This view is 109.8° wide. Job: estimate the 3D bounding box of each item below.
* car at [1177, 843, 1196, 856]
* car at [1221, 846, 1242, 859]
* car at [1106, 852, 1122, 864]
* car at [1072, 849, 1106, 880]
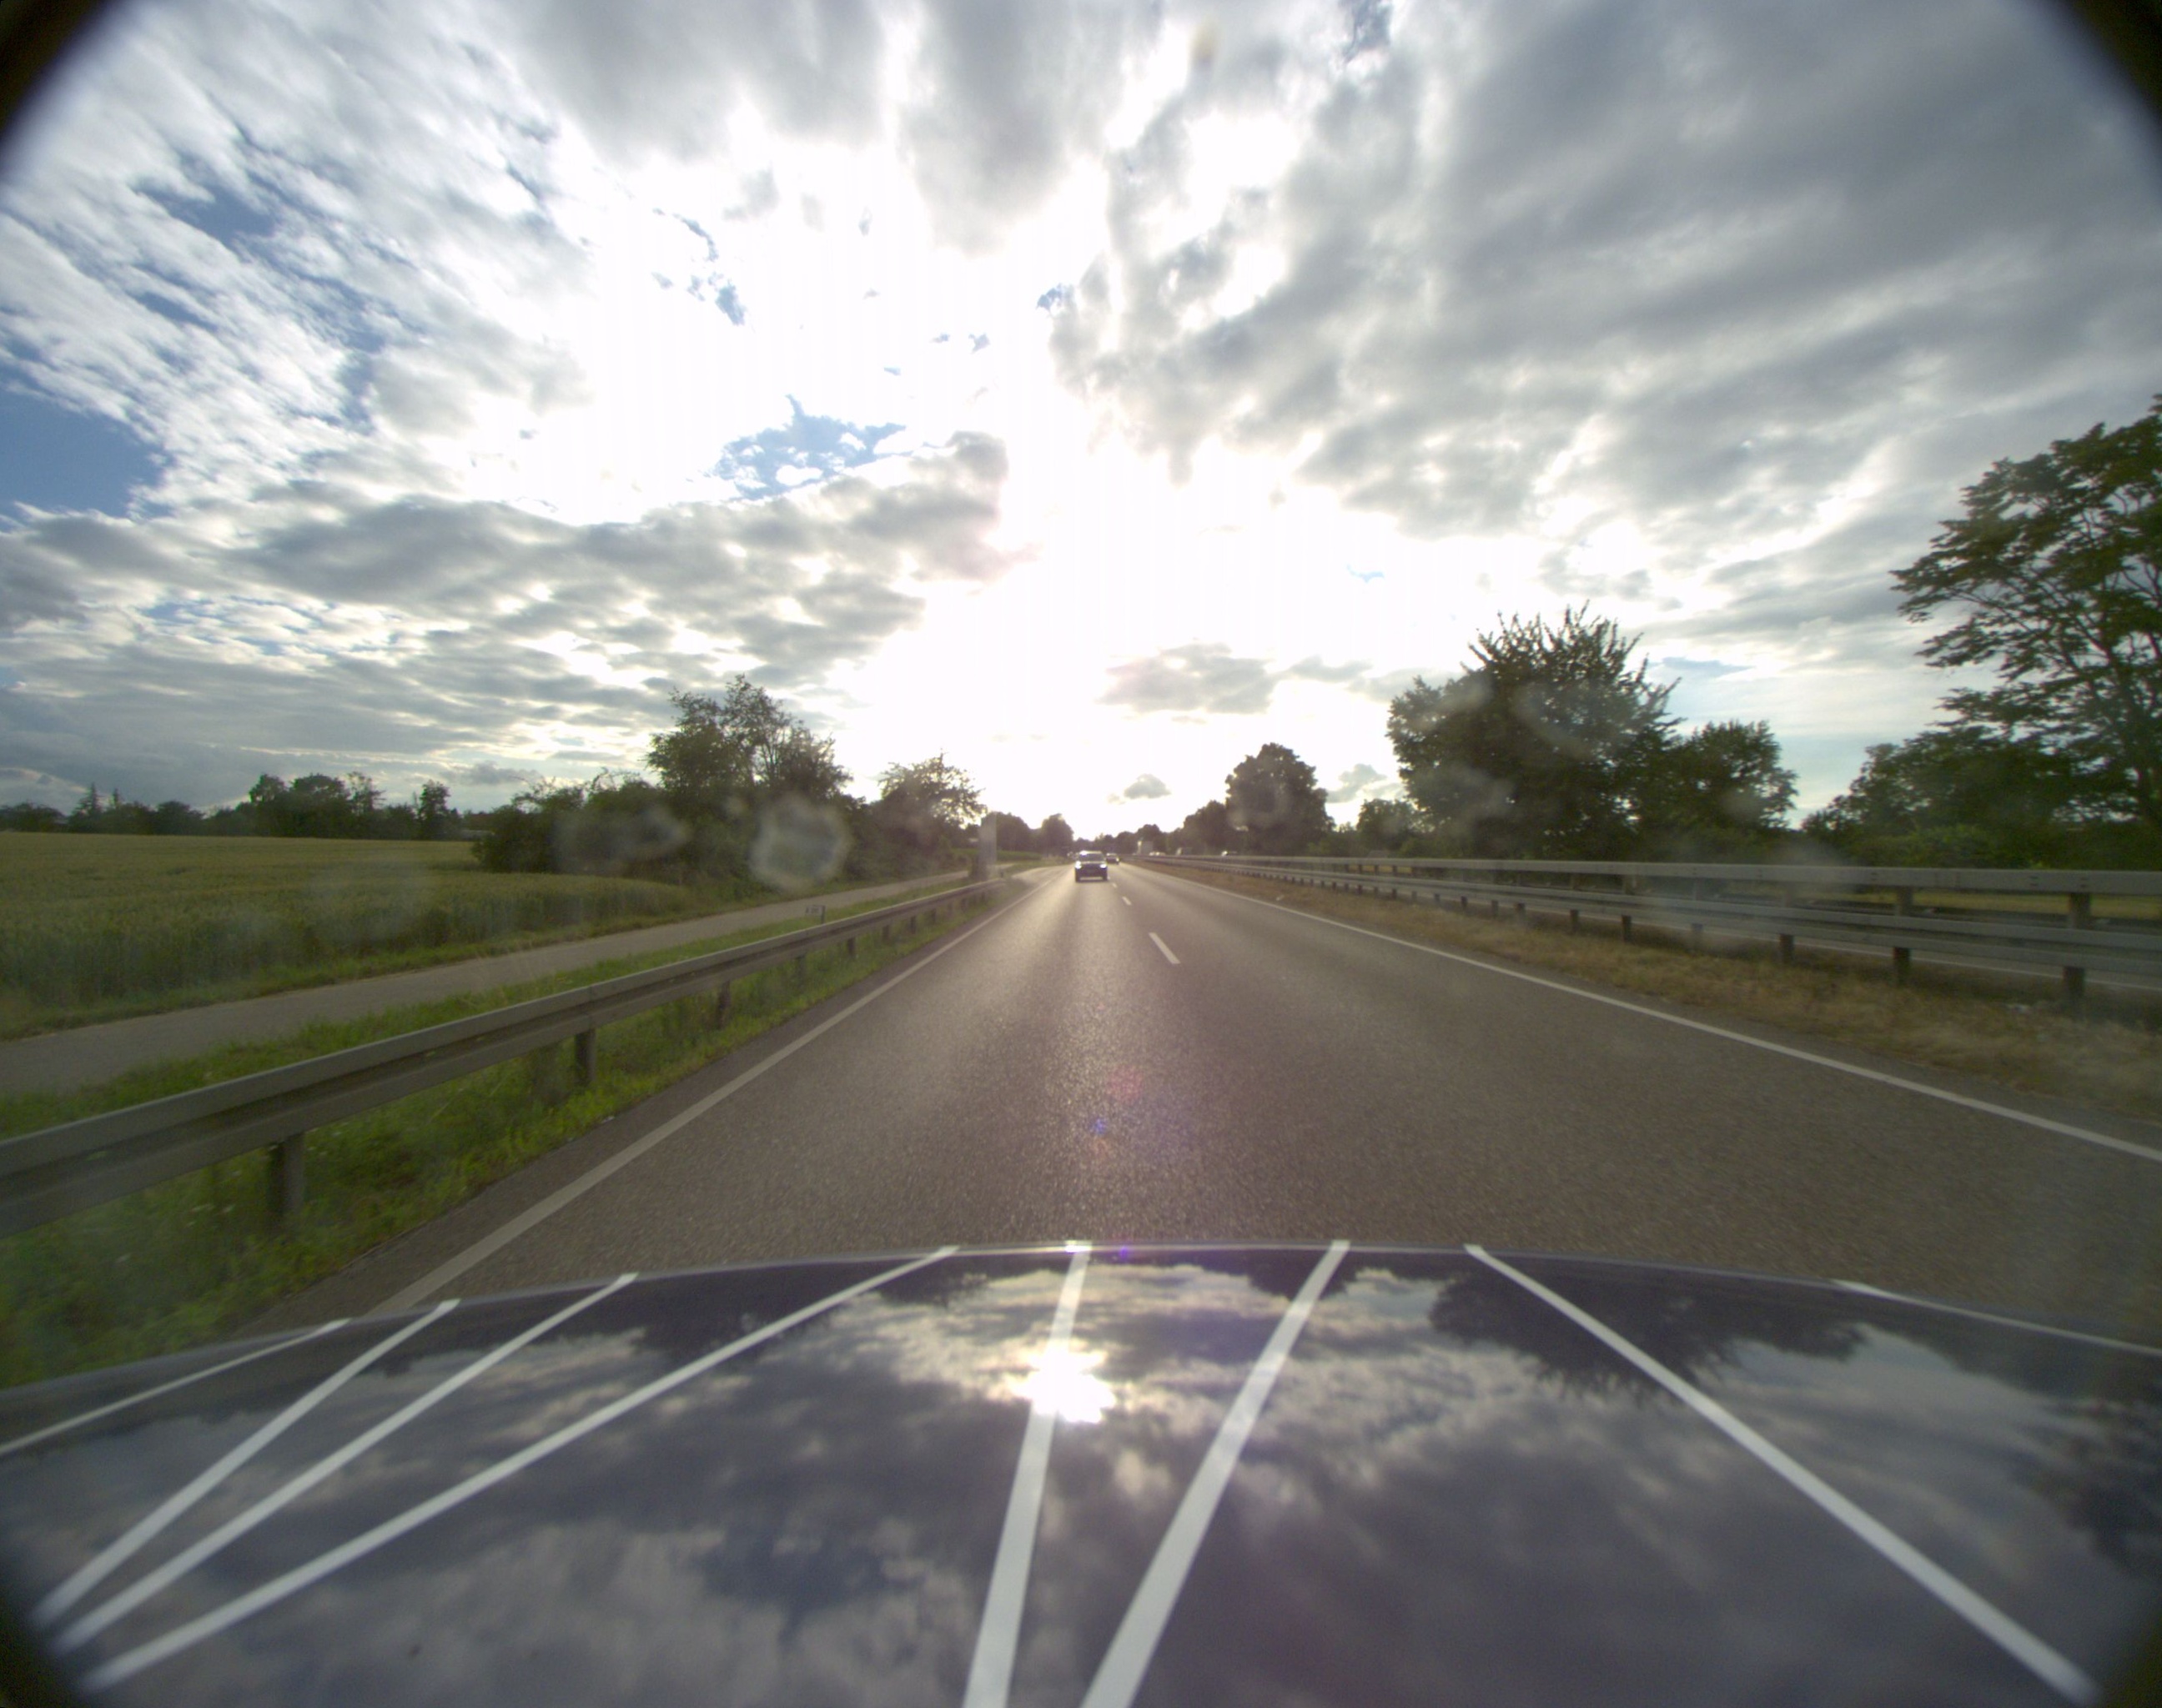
[{"bbox_3d":[13.534,-0.587,97.901,1.937,1.626,4.375,-1,1,1],"label":"car"},{"bbox_3d":[16.833,-0.178,85.157,1.605,1.371,3.471,-2,1,1],"label":"car"},{"bbox_3d":[4.271,0.550,98.917,1.775,1.389,3.999,-2,1,0],"label":"car"},{"bbox_3d":[0.503,0.561,44.386,1.863,1.636,3.999,-2,1,1],"label":"car"}]
